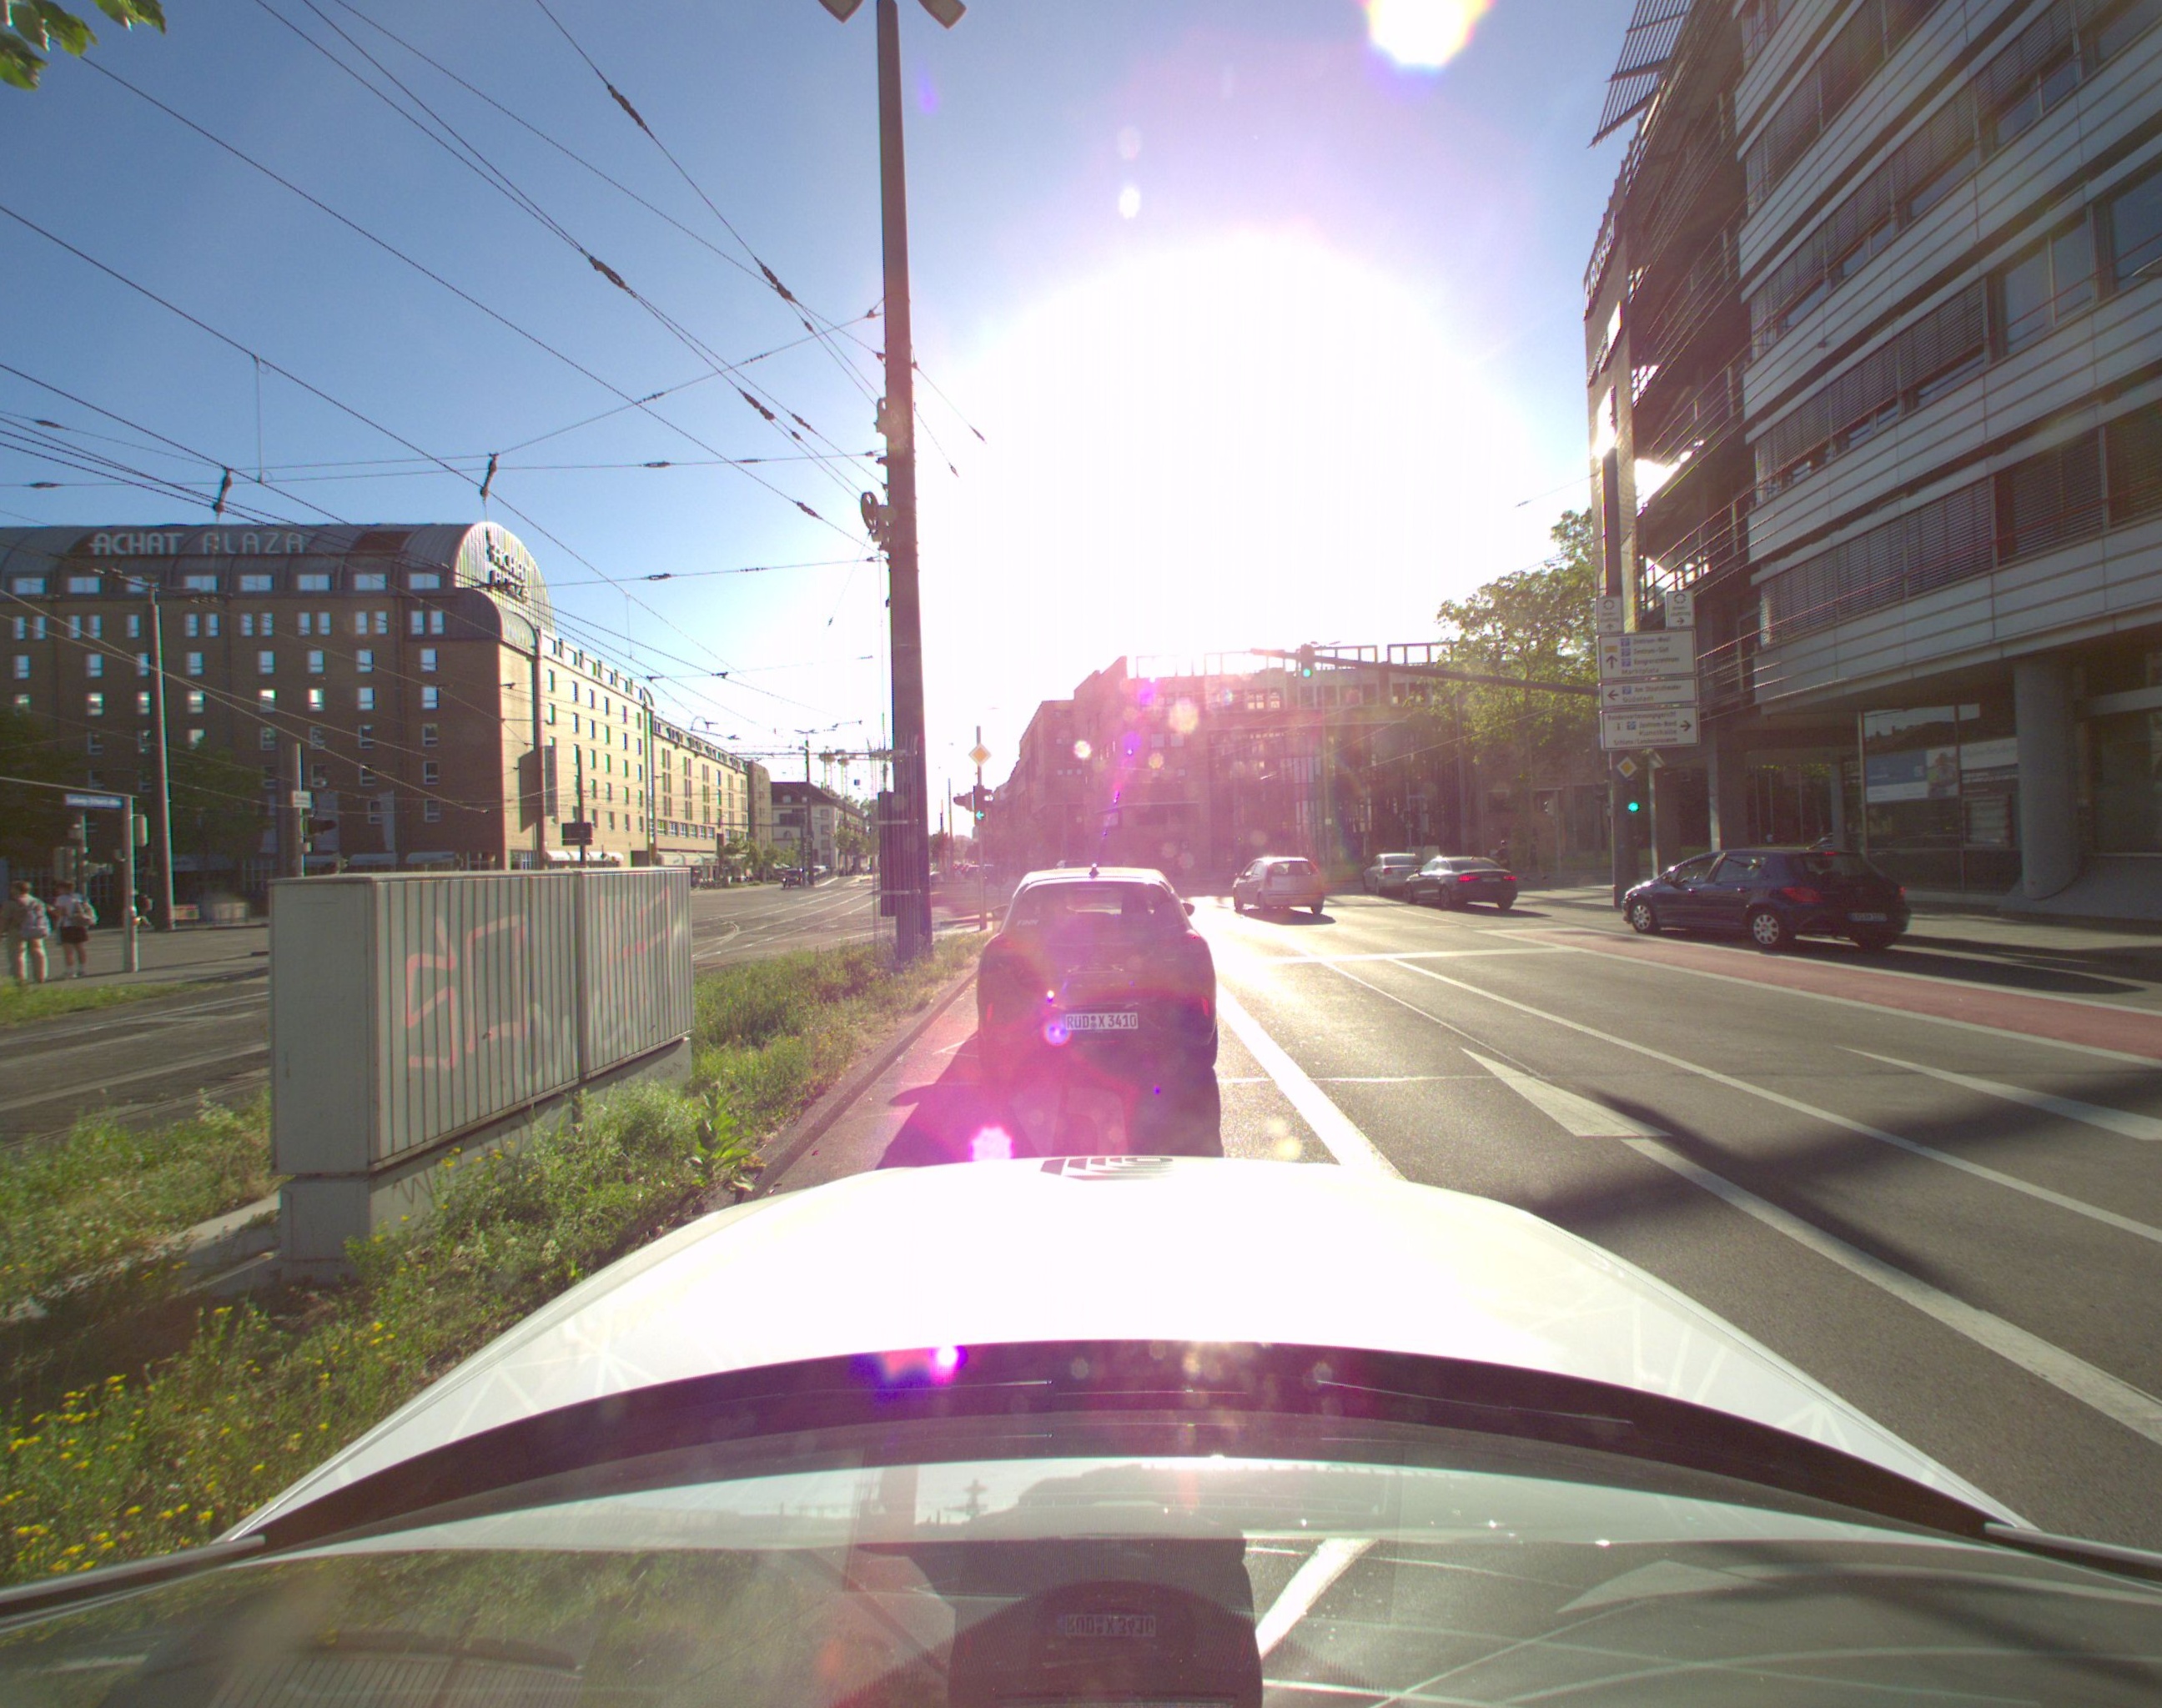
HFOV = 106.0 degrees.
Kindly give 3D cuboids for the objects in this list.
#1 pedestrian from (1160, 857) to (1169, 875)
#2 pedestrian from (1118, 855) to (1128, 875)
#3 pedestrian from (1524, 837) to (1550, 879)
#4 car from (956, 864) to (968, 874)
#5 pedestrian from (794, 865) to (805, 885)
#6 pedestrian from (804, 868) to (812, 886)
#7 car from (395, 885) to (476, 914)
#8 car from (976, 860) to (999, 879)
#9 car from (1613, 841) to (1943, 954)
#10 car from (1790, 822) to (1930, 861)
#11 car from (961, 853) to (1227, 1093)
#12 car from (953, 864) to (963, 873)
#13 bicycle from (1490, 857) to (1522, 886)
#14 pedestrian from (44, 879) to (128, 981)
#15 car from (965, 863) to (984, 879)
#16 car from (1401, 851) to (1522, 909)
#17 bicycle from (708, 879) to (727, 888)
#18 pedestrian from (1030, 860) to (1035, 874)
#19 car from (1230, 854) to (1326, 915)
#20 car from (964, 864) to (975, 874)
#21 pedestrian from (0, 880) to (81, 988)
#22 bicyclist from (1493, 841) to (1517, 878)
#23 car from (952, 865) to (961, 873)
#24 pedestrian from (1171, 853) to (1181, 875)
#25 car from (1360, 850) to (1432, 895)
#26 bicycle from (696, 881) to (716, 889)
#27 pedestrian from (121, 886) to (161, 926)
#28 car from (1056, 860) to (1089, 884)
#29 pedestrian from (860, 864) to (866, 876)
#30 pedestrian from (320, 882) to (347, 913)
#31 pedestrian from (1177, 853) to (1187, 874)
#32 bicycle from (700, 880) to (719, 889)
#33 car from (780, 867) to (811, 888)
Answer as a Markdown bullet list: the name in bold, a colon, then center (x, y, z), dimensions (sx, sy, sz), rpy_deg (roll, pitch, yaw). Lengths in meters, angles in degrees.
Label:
- **pedestrian**: center (7.127, 1.018, 69.689), dimensions (0.550, 1.477, 0.568), rpy_deg (-2, 0, -27)
- **pedestrian**: center (3.772, 0.994, 73.526), dimensions (0.643, 1.786, 0.683), rpy_deg (-3, -1, -22)
- **pedestrian**: center (19.266, 0.173, 34.386), dimensions (0.786, 1.734, 0.588), rpy_deg (-1, -1, 9)
- **car**: center (-17.699, 2.242, 121.342), dimensions (1.516, 1.453, 3.570), rpy_deg (-3, 0, -11)
- **pedestrian**: center (-24.147, 1.809, 69.748), dimensions (0.720, 1.727, 0.593), rpy_deg (-2, 0, -8)
- **pedestrian**: center (-24.132, 2.022, 72.050), dimensions (0.583, 1.577, 0.642), rpy_deg (-2, -1, -23)
- **car**: center (-40.821, 2.860, 51.521), dimensions (3.883, 1.601, 1.595), rpy_deg (-2, 0, -43)
- **car**: center (-7.936, 1.314, 68.911), dimensions (1.720, 1.453, 3.686), rpy_deg (-3, 0, -9)
- **car**: center (10.797, 0.596, 13.083), dimensions (1.855, 1.475, 3.976), rpy_deg (-2, 0, 0)
- **car**: center (32.520, -0.508, 34.095), dimensions (3.948, 1.475, 1.869), rpy_deg (-2, 0, 3)
- **car**: center (0.139, 0.759, 7.011), dimensions (1.665, 1.502, 3.692), rpy_deg (-1, 0, 2)
- **car**: center (-21.448, 2.445, 141.995), dimensions (1.516, 1.453, 3.570), rpy_deg (-3, 0, -11)
- **bicycle**: center (16.867, 0.672, 32.302), dimensions (0.658, 1.018, 2.199), rpy_deg (-1, 2, 39)
- **pedestrian**: center (-19.205, 1.445, 15.730), dimensions (0.729, 1.869, 0.673), rpy_deg (-2, 0, -2)
- **car**: center (-10.913, 1.717, 83.332), dimensions (1.721, 1.453, 3.684), rpy_deg (-3, 0, -11)
- **car**: center (10.556, 0.693, 22.923), dimensions (1.688, 1.440, 4.021), rpy_deg (-1, -1, 3)
- **bicycle**: center (-42.689, 3.473, 95.626), dimensions (2.026, 0.921, 0.483), rpy_deg (-3, 0, 1)
- **pedestrian**: center (-6.124, 1.649, 103.221), dimensions (0.547, 1.786, 0.572), rpy_deg (-2, 2, -7)
- **car**: center (5.237, 0.770, 22.063), dimensions (1.556, 1.456, 3.427), rpy_deg (-2, 0, -3)
- **car**: center (-18.204, 2.409, 133.175), dimensions (1.516, 1.453, 3.570), rpy_deg (-3, 0, -11)
- **pedestrian**: center (-19.020, 1.435, 14.816), dimensions (0.729, 1.869, 0.699), rpy_deg (-2, 0, 1)
- **bicyclist**: center (16.713, 0.199, 32.127), dimensions (0.658, 1.407, 0.821), rpy_deg (-1, 1, 39)
- **car**: center (-23.825, 2.774, 155.702), dimensions (1.516, 1.453, 3.570), rpy_deg (-3, 0, -11)
- **pedestrian**: center (7.832, 0.806, 67.085), dimensions (0.573, 1.786, 0.546), rpy_deg (-3, -1, -17)
- **car**: center (11.291, 0.633, 29.419), dimensions (1.684, 1.475, 3.994), rpy_deg (-2, 0, 11)
- **bicycle**: center (-42.828, 3.506, 93.055), dimensions (2.026, 0.845, 0.483), rpy_deg (-3, 0, 1)
- **pedestrian**: center (-41.798, 2.298, 36.225), dimensions (0.711, 1.680, 0.832), rpy_deg (-2, 1, 2)
- **car**: center (-0.588, 1.199, 54.058), dimensions (1.671, 1.453, 3.686), rpy_deg (-3, 0, -9)
- **pedestrian**: center (-30.979, 2.223, 115.717), dimensions (0.863, 1.670, 0.779), rpy_deg (-1, 0, -20)
- **pedestrian**: center (-42.469, 2.462, 46.280), dimensions (0.713, 1.680, 0.829), rpy_deg (-2, 1, -7)
- **pedestrian**: center (8.521, 0.794, 68.465), dimensions (0.573, 1.786, 0.546), rpy_deg (-3, -1, -17)
- **bicycle**: center (-43.092, 3.486, 94.449), dimensions (2.026, 0.921, 0.483), rpy_deg (-3, 0, 1)
- **car**: center (-27.803, 2.292, 79.370), dimensions (1.837, 1.836, 4.098), rpy_deg (-4, 0, -6)
